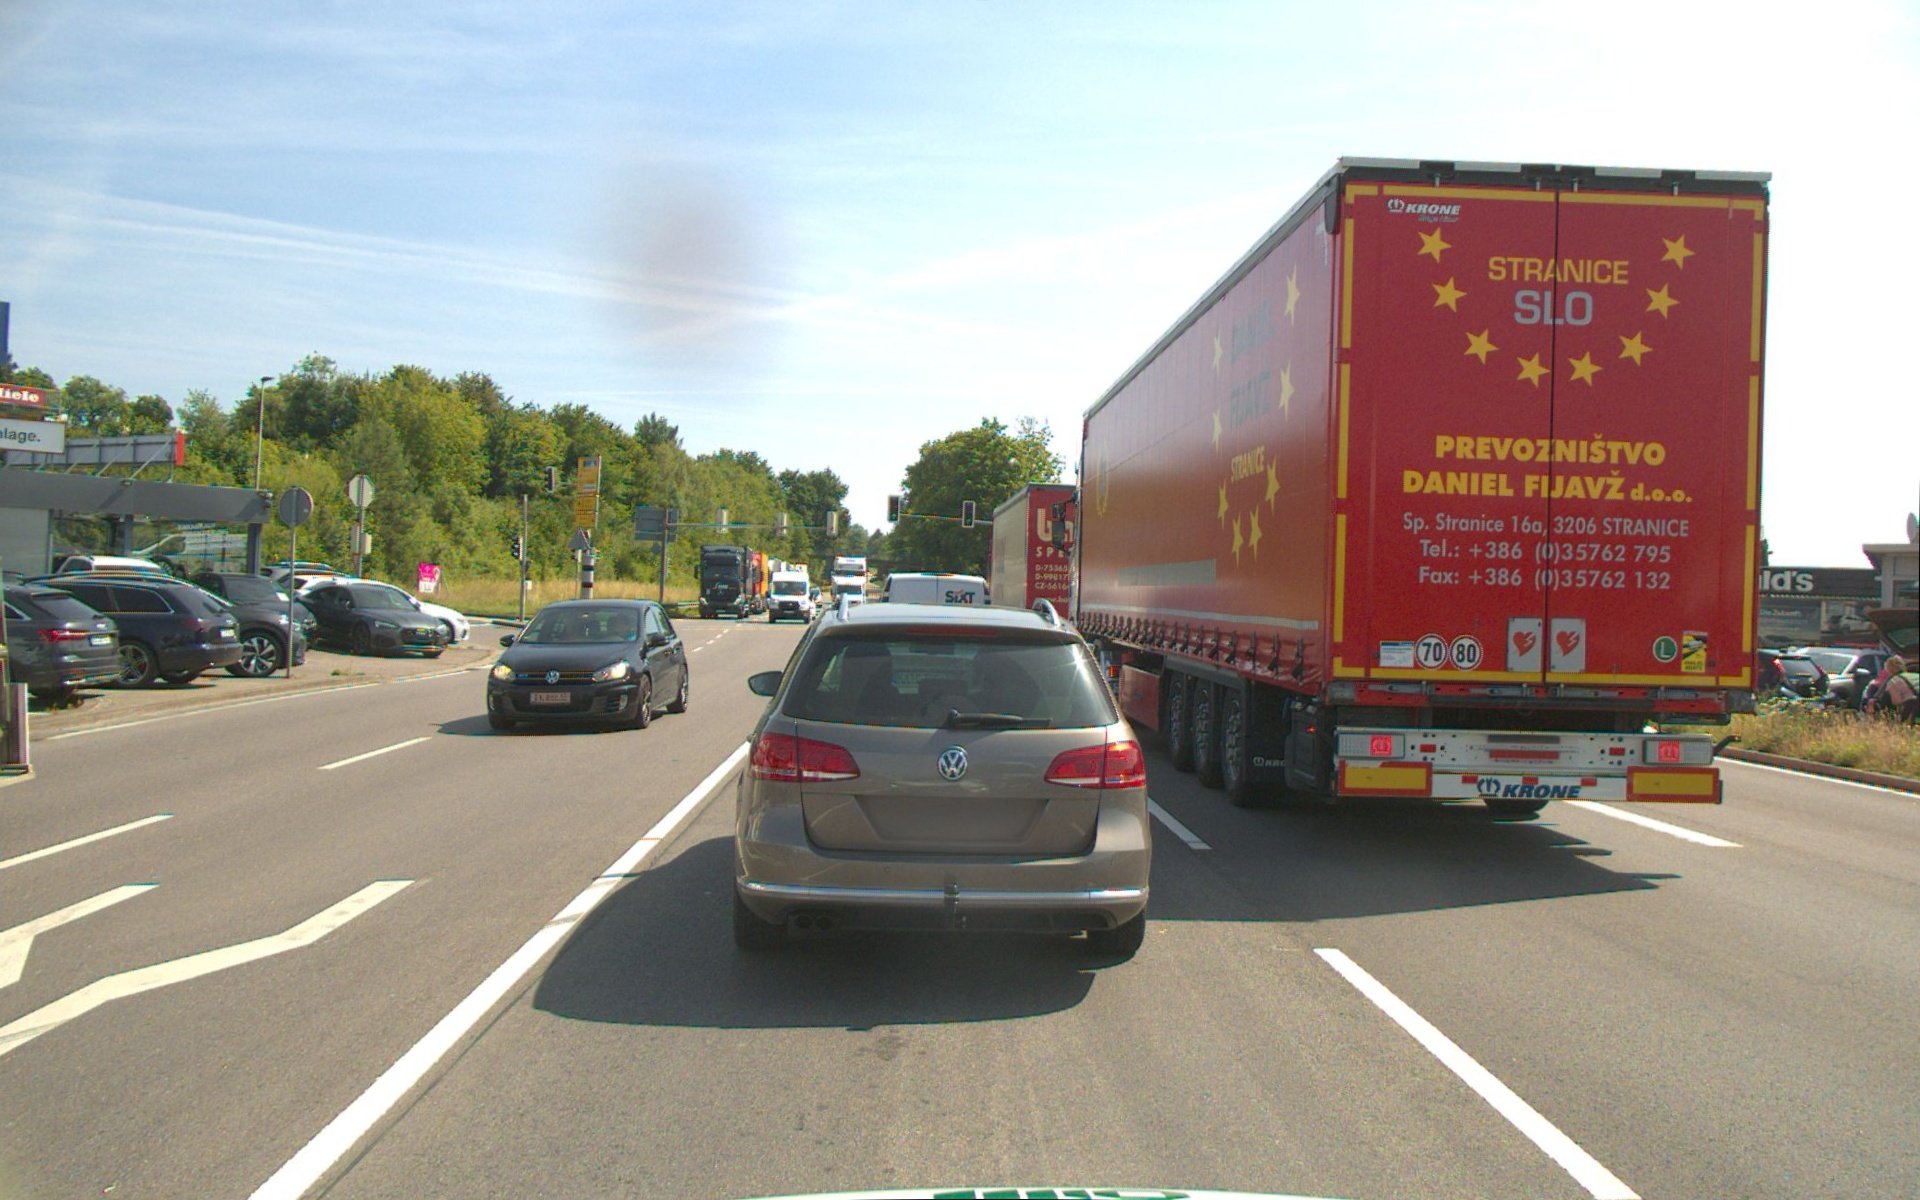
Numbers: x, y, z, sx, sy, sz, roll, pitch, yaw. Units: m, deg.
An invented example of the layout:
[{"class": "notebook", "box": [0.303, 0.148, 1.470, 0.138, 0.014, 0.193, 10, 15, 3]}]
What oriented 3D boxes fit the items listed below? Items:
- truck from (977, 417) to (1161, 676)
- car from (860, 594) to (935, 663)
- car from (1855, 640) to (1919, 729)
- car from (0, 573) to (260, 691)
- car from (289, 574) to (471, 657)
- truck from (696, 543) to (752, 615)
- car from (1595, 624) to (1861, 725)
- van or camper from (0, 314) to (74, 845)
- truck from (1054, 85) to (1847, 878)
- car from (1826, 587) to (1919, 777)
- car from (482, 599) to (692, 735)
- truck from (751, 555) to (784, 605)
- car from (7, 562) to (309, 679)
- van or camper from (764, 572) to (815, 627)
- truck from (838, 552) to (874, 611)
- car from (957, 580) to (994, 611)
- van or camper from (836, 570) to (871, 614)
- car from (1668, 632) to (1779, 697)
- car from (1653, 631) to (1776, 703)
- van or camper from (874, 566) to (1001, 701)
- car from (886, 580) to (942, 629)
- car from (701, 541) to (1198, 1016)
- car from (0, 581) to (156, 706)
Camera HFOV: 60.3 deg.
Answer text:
[{"class": "truck", "box": [2.353, -1.151, 42.910, 3.001, 5.312, 17.000, 1, 0, -2]}, {"class": "car", "box": [-1.513, 0.679, 40.110, 1.692, 1.545, 3.310, 2, -1, -2]}, {"class": "car", "box": [18.467, 1.574, 31.151, 1.964, 1.558, 3.976, 2, 0, 41]}, {"class": "car", "box": [-12.098, 0.423, 23.203, 3.740, 1.566, 1.842, 1, 0, -3]}, {"class": "car", "box": [-12.924, 0.315, 36.731, 4.453, 1.723, 2.116, 1, 0, 45]}, {"class": "truck", "box": [-13.041, -1.131, 91.793, 2.758, 3.852, 6.981, 0, 0, -6]}, {"class": "car", "box": [13.802, 1.301, 29.938, 1.973, 1.558, 3.960, 2, 0, -30]}, {"class": "van or camper", "box": [-6.678, -0.114, 7.545, 2.162, 3.109, 5.901, 0, 0, -1]}, {"class": "truck", "box": [3.228, -0.683, 17.513, 2.897, 4.344, 16.578, 1, 0, -2]}, {"class": "car", "box": [11.530, 0.891, 18.179, 3.788, 1.954, 1.688, 1, 0, -27]}, {"class": "car", "box": [-4.310, 0.719, 19.679, 1.632, 1.434, 3.925, -1, 0, -1]}, {"class": "truck", "box": [-15.302, -1.564, 131.831, 2.484, 3.852, 6.981, 0, 0, -6]}, {"class": "car", "box": [-12.298, 0.301, 25.546, 3.740, 1.704, 1.842, 1, 0, -3]}, {"class": "van or camper", "box": [-8.361, -0.044, 81.382, 2.130, 2.596, 4.168, 2, 0, -2]}, {"class": "truck", "box": [-8.047, -1.416, 128.426, 2.501, 4.383, 7.592, 0, 0, -2]}, {"class": "car", "box": [0.789, -0.220, 86.322, 1.692, 1.545, 3.310, 2, -1, -2]}, {"class": "van or camper", "box": [-7.278, -0.498, 113.715, 2.179, 2.890, 5.708, 2, -1, -2]}, {"class": "car", "box": [19.921, 1.652, 43.110, 1.657, 1.558, 3.575, 2, 0, 41]}, {"class": "car", "box": [17.890, 1.553, 39.156, 1.657, 1.558, 3.575, 2, 0, 41]}, {"class": "van or camper", "box": [-0.407, 0.484, 26.195, 1.815, 1.939, 3.783, 2, 0, -2]}, {"class": "car", "box": [-1.499, 0.155, 55.179, 1.691, 1.545, 3.312, 2, -1, 1]}, {"class": "car", "box": [0.005, 0.634, 7.624, 1.753, 1.667, 3.504, 0, 0, 1]}, {"class": "car", "box": [-12.299, 0.498, 20.508, 3.740, 1.473, 1.842, 1, 0, -3]}]
